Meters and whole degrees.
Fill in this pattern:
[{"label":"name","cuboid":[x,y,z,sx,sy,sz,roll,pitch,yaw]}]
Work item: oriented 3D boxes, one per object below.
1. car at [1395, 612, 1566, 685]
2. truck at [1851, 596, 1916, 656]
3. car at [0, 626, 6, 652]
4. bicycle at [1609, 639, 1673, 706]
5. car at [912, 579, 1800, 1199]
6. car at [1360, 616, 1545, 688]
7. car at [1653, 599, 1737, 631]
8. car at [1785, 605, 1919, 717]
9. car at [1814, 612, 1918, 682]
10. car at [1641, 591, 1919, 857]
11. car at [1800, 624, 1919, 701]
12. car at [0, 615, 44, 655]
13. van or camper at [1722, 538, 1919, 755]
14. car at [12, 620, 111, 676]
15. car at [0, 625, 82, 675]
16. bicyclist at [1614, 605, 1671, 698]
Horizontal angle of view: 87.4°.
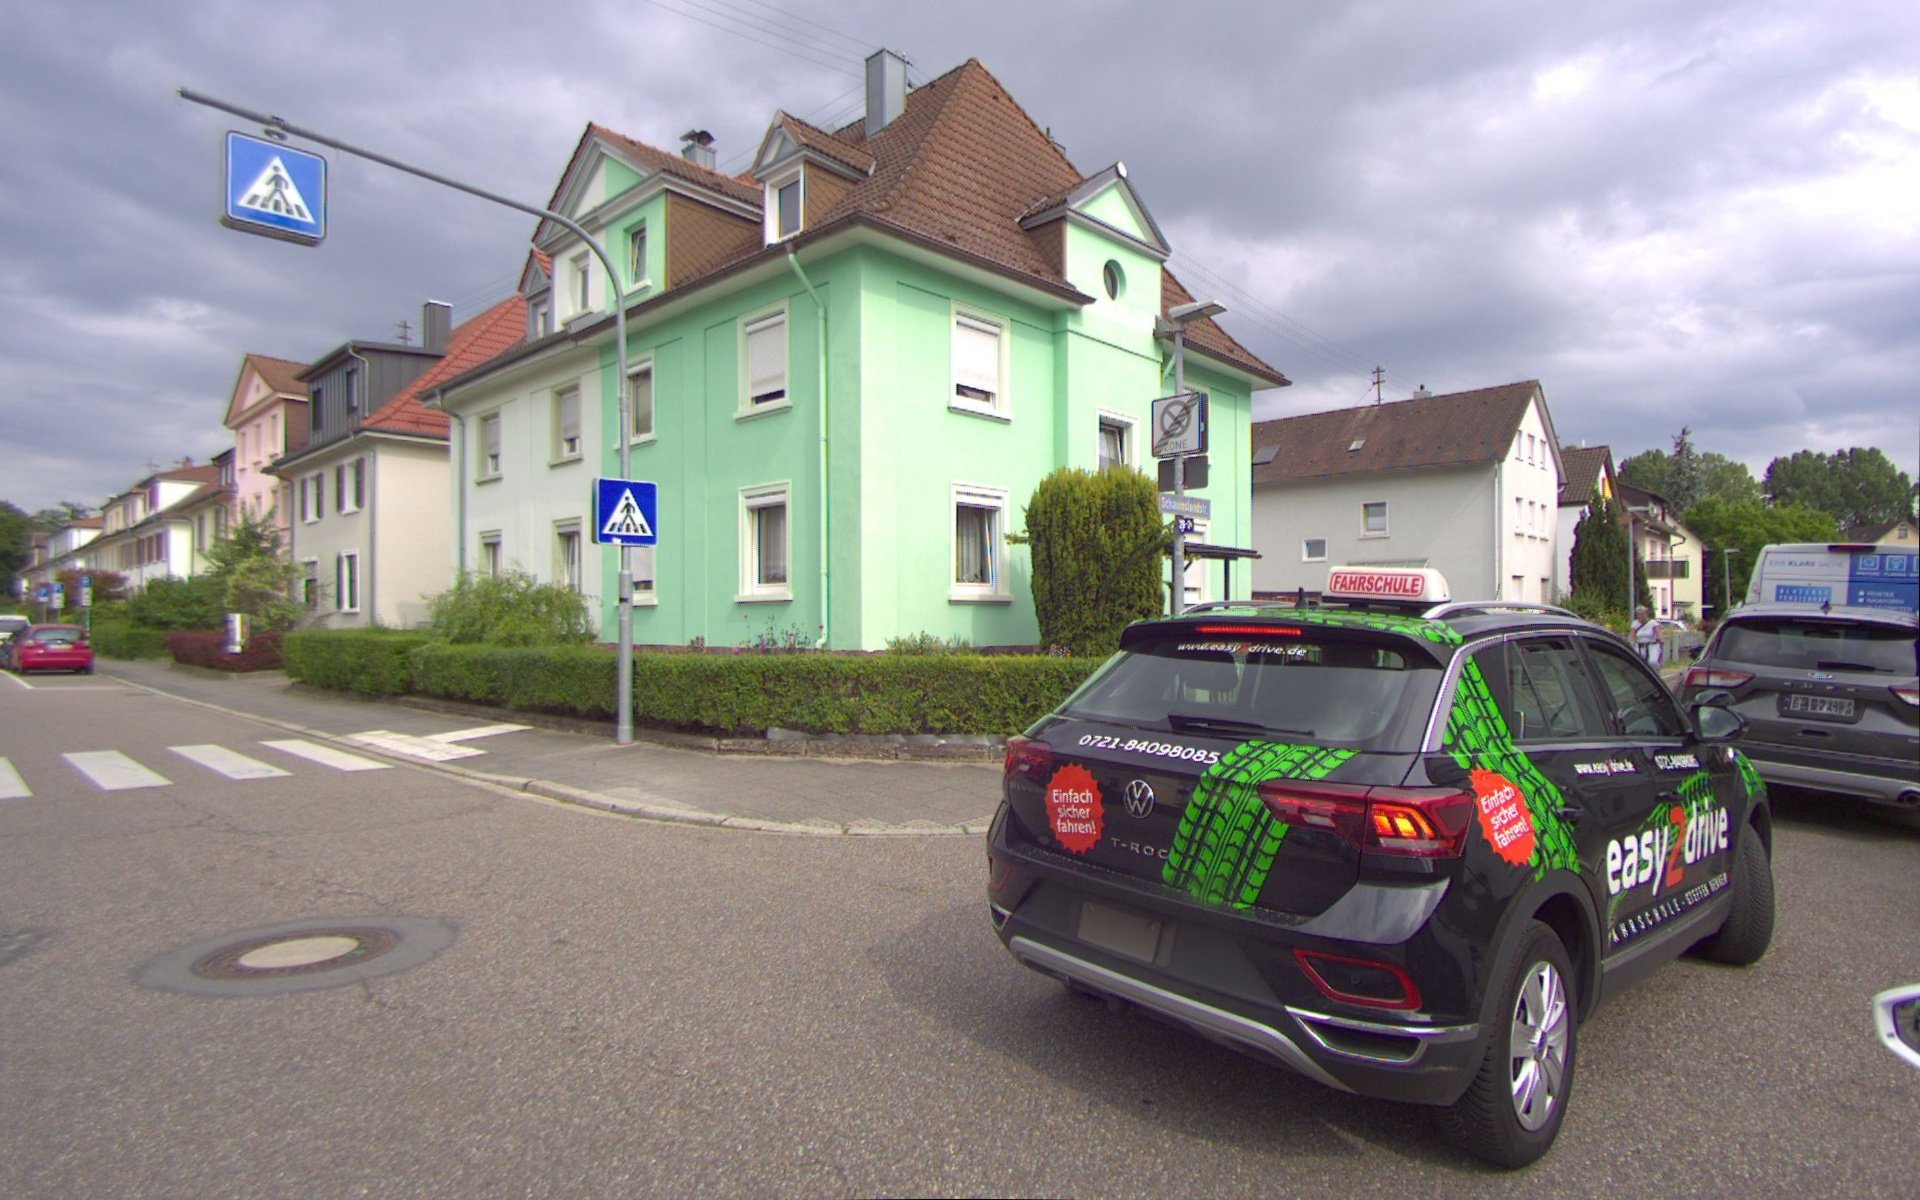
[{"label":"car","cuboid":[12.885,1.159,24.969,3.529,1.689,1.580,-1,-2,40]},{"label":"truck","cuboid":[43.820,1.202,47.731,2.106,2.692,4.561,-1,-1,41]},{"label":"car","cuboid":[-59.469,2.374,61.048,3.945,1.595,1.988,-1,-1,44]},{"label":"bicycle","cuboid":[12.739,1.323,18.764,0.697,1.167,1.862,-2,-2,43]},{"label":"car","cuboid":[1.927,0.785,4.146,4.012,1.540,1.800,2,-1,-42]},{"label":"car","cuboid":[11.220,1.151,22.984,3.529,1.520,1.580,-1,-2,40]},{"label":"car","cuboid":[43.591,0.902,59.588,3.939,1.795,1.862,-1,-3,39]},{"label":"car","cuboid":[16.223,1.008,18.124,1.971,1.795,4.320,-1,-1,41]},{"label":"car","cuboid":[24.801,1.215,27.633,1.971,1.772,4.320,-1,-1,41]},{"label":"car","cuboid":[7.316,0.849,8.619,1.971,1.750,4.320,-1,-1,41]},{"label":"car","cuboid":[19.595,1.279,21.859,1.971,1.475,4.320,-1,-1,41]},{"label":"car","cuboid":[-47.823,1.732,50.782,3.945,1.929,1.988,-1,-1,44]},{"label":"van or camper","cuboid":[12.179,0.565,13.872,2.168,2.492,5.026,-1,-1,42]},{"label":"car","cuboid":[-28.008,1.443,31.278,3.945,1.595,1.988,-1,-1,44]},{"label":"car","cuboid":[-31.875,1.687,34.685,3.945,1.595,1.988,-1,-1,44]},{"label":"bicyclist","cuboid":[12.785,0.949,18.818,0.689,1.688,0.969,-3,-3,44]}]
